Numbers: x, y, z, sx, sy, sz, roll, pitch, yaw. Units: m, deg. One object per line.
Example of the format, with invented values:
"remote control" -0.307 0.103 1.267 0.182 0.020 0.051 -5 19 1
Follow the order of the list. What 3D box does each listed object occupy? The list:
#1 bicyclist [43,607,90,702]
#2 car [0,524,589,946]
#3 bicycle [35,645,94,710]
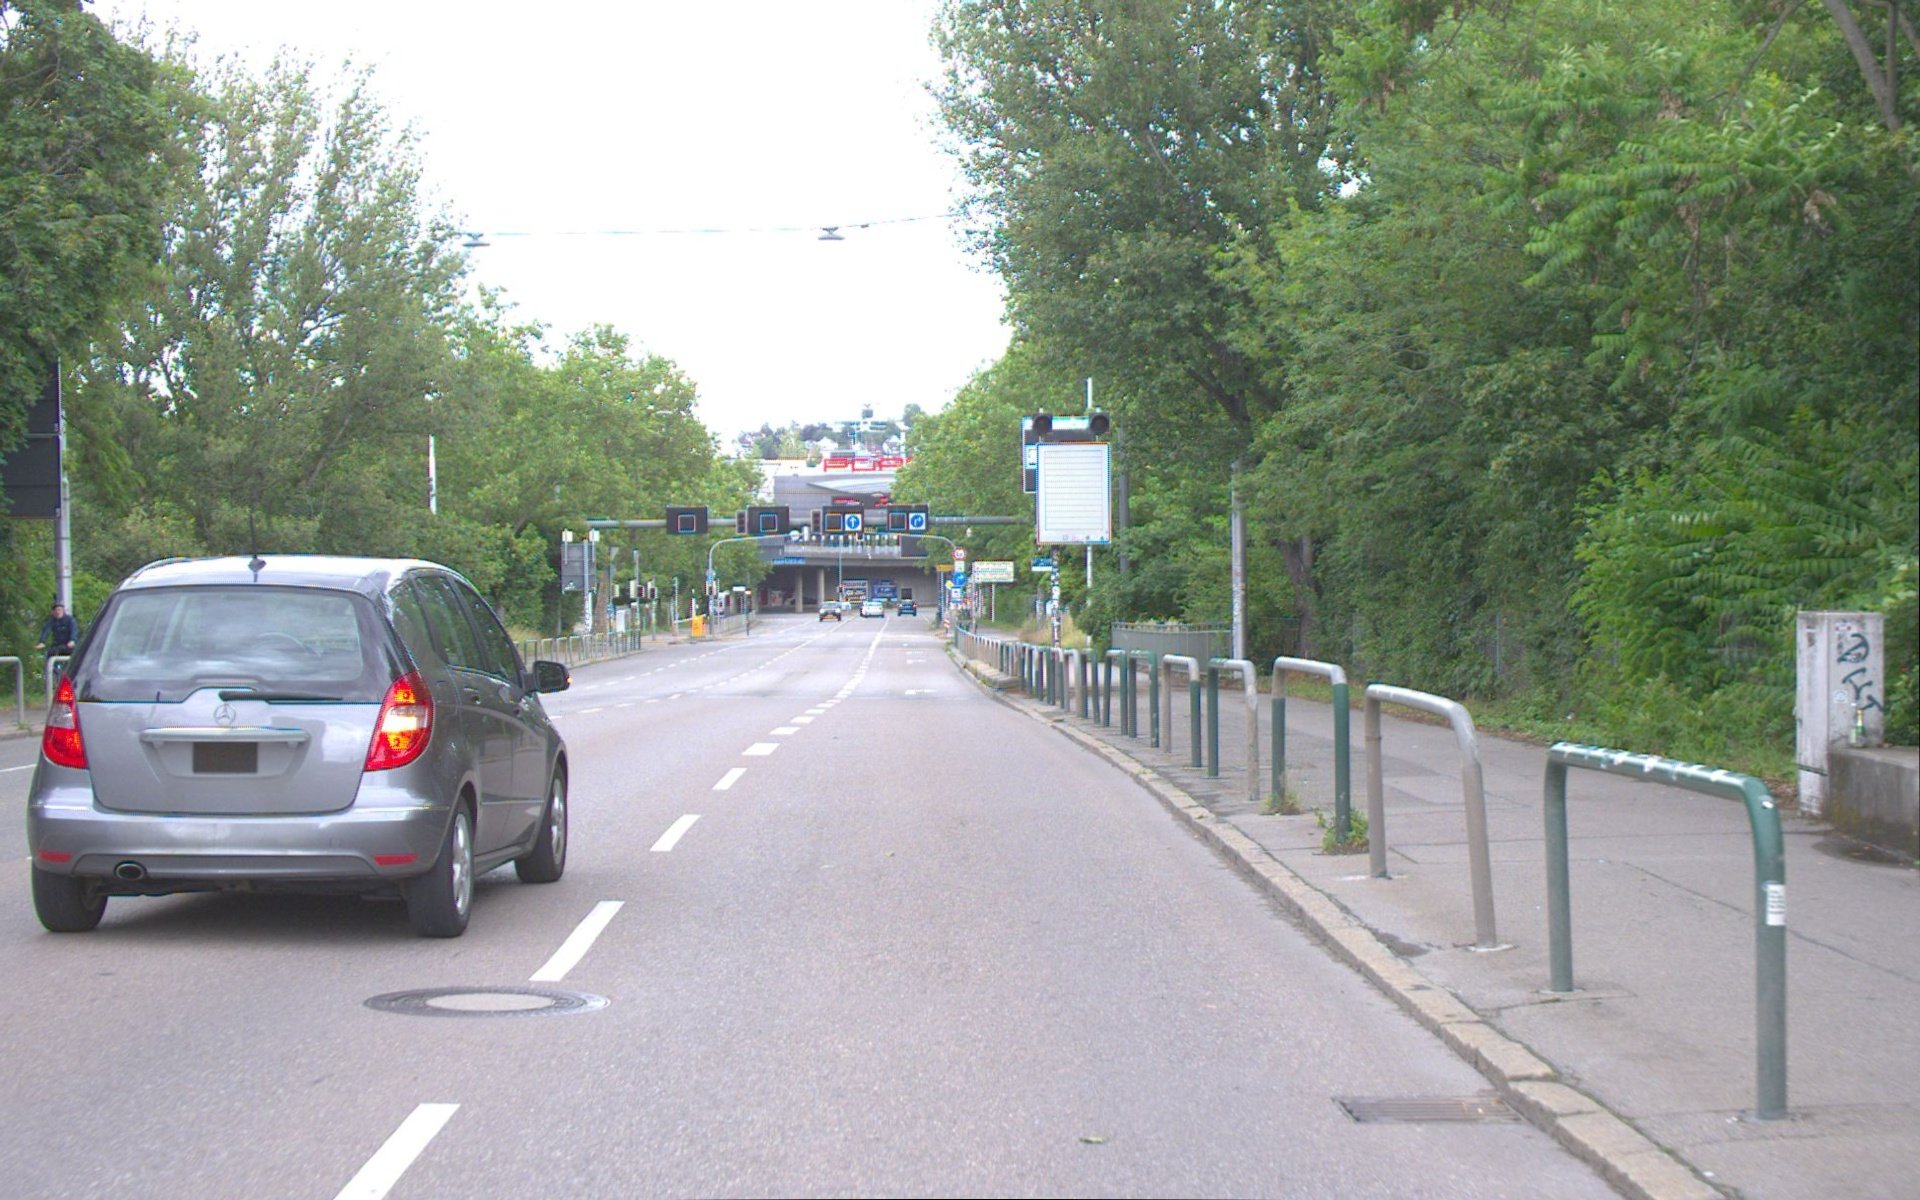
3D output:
"bicyclist" -14.330 0.866 55.158 0.515 1.511 0.984 -1 -1 -2
"car" -2.868 0.556 15.428 1.826 1.611 4.033 1 -1 2
"bicycle" -14.353 1.238 55.137 0.484 0.998 2.002 -1 0 -2
